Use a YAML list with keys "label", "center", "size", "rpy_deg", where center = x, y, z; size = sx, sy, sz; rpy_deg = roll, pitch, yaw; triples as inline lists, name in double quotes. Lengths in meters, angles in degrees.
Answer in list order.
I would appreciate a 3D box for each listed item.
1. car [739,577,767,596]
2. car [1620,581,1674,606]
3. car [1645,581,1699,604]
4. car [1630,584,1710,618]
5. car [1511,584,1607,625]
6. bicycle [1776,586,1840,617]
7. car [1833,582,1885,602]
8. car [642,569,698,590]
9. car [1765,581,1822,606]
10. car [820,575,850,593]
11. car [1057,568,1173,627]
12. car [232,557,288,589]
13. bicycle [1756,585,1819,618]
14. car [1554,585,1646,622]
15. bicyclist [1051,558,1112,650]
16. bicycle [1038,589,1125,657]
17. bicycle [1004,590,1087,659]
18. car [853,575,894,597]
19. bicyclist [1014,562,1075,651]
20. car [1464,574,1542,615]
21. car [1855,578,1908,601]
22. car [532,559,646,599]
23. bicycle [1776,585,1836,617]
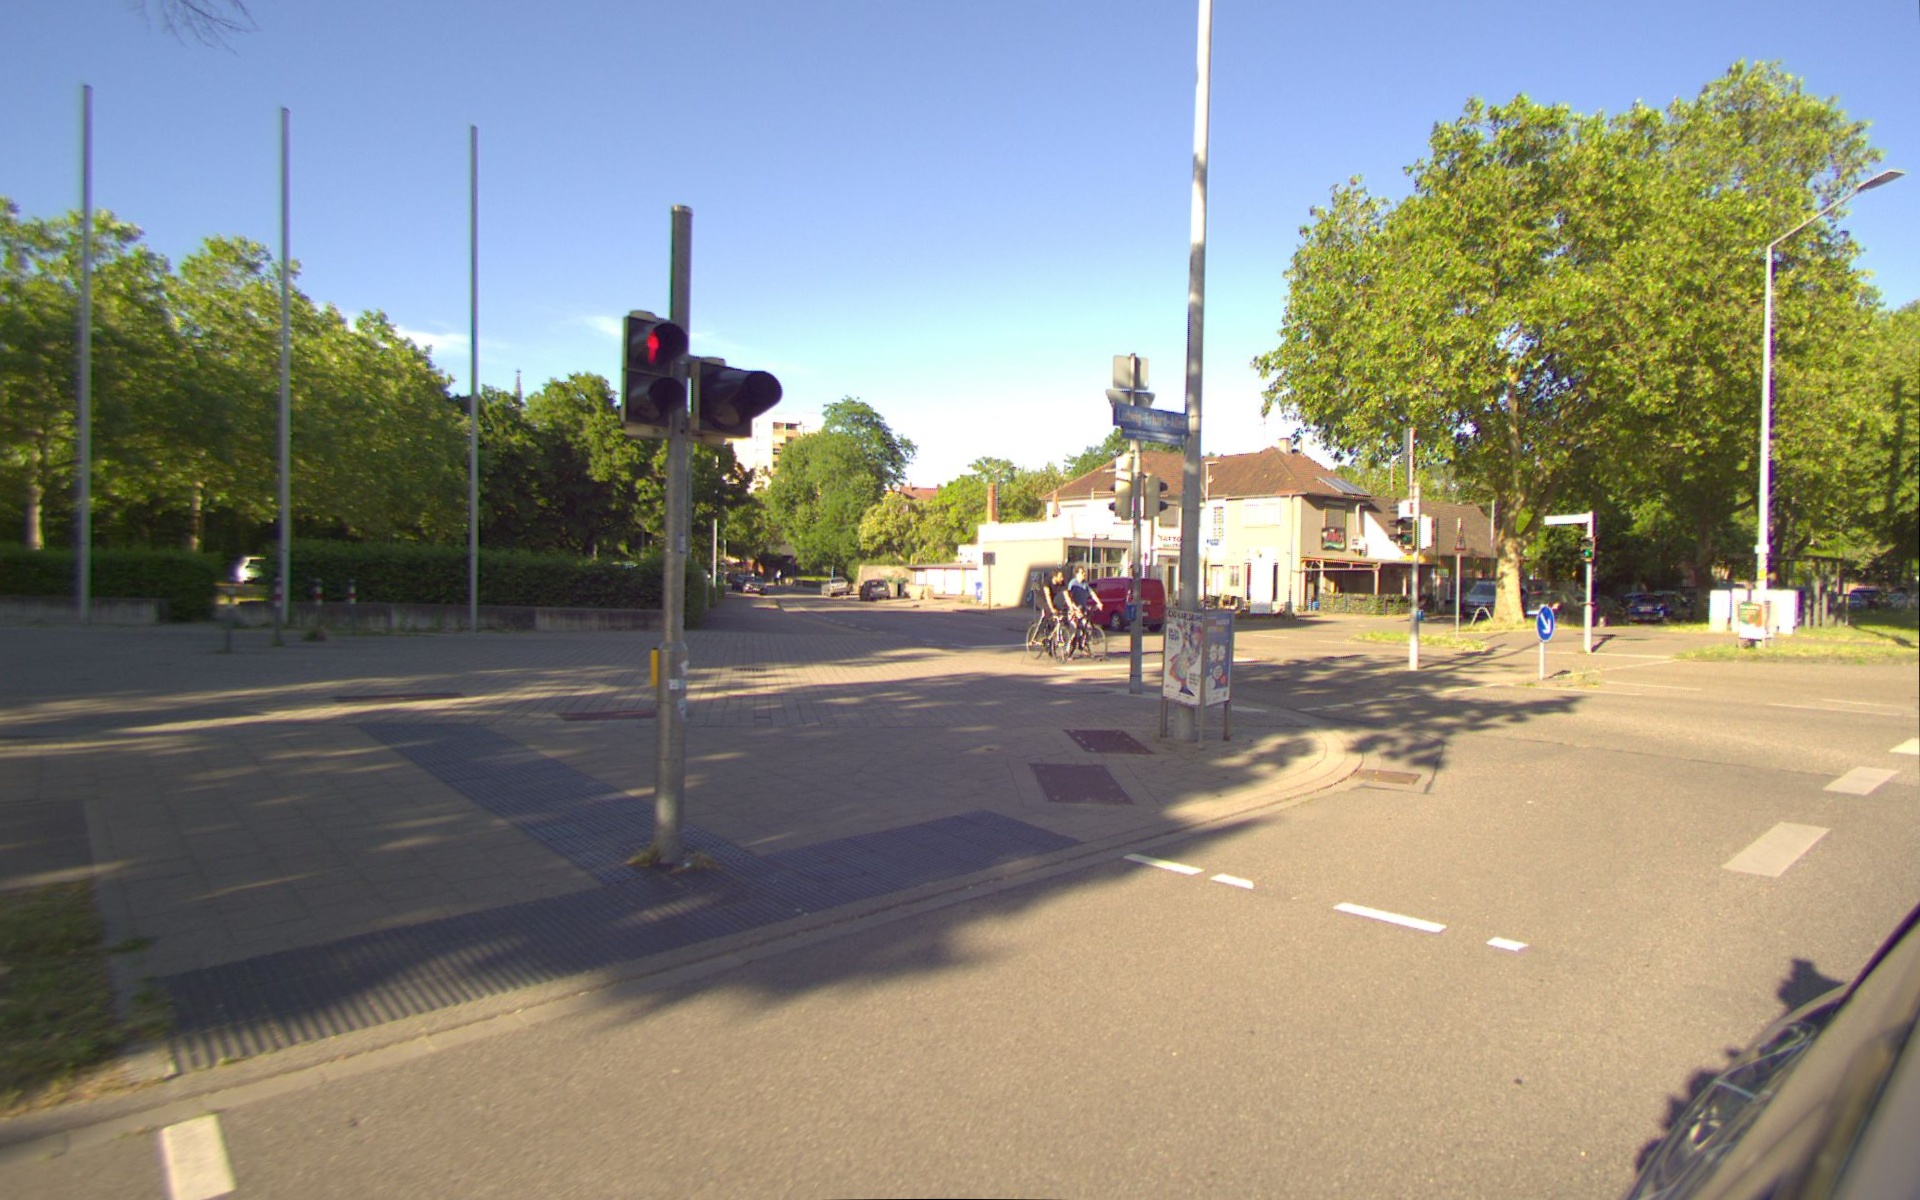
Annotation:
- label: "car"
  center: [-16.933, -1.122, 82.654]
  size: [1.958, 1.483, 4.483]
  rpy_deg: [0, 1, -15]
- label: "car"
  center: [46.917, -0.485, 69.116]
  size: [4.576, 1.548, 1.997]
  rpy_deg: [-1, 4, -43]
- label: "car"
  center: [51.088, -0.568, 72.595]
  size: [4.570, 1.548, 1.998]
  rpy_deg: [-1, 1, -39]
- label: "car"
  center: [33.180, 0.021, 47.280]
  size: [4.267, 1.507, 1.899]
  rpy_deg: [-1, 1, -38]
- label: "car"
  center: [22.812, 0.142, 38.507]
  size: [3.964, 1.483, 1.898]
  rpy_deg: [-1, 1, -39]
- label: "bicycle"
  center: [32.743, 0.044, 39.101]
  size: [0.541, 1.183, 1.808]
  rpy_deg: [0, 1, -38]
- label: "car"
  center: [62.161, -0.576, 69.936]
  size: [4.779, 1.380, 1.998]
  rpy_deg: [-1, 1, -39]
- label: "car"
  center: [-21.605, -1.530, 75.367]
  size: [3.934, 1.484, 2.004]
  rpy_deg: [0, 0, -16]
- label: "car"
  center: [48.549, -0.399, 58.916]
  size: [3.845, 1.397, 1.942]
  rpy_deg: [-1, 1, -40]
- label: "car"
  center: [-10.271, -1.299, 82.953]
  size: [1.958, 1.484, 4.008]
  rpy_deg: [0, 0, -15]
- label: "car"
  center: [5.140, -0.076, 34.034]
  size: [1.816, 1.838, 4.120]
  rpy_deg: [2, -1, -26]
- label: "car"
  center: [-40.146, -1.540, 58.137]
  size: [1.958, 1.485, 4.005]
  rpy_deg: [1, -3, -25]
- label: "bicycle"
  center: [30.176, 0.047, 36.939]
  size: [0.540, 1.183, 1.702]
  rpy_deg: [0, 1, -33]
- label: "car"
  center: [26.167, 0.118, 41.352]
  size: [4.267, 1.429, 1.898]
  rpy_deg: [-1, 1, -38]
- label: "bicyclist"
  center: [2.398, 0.061, 19.998]
  size: [0.815, 1.759, 0.878]
  rpy_deg: [1, 1, -30]
- label: "bicycle"
  center: [2.375, 0.424, 20.082]
  size: [0.540, 1.218, 2.106]
  rpy_deg: [1, 1, -30]
- label: "bicycle"
  center: [1.619, 0.433, 19.552]
  size: [0.540, 1.218, 2.107]
  rpy_deg: [1, 1, -27]
- label: "car"
  center: [-6.178, -1.042, 72.272]
  size: [1.958, 1.483, 4.009]
  rpy_deg: [0, 1, -20]
- label: "bicyclist"
  center: [1.624, 0.116, 19.515]
  size: [0.777, 1.674, 0.878]
  rpy_deg: [1, 1, -30]
- label: "car"
  center: [29.088, -0.312, 54.151]
  size: [4.980, 2.061, 1.898]
  rpy_deg: [-1, 3, -40]
- label: "car"
  center: [66.486, -0.773, 73.006]
  size: [4.567, 1.616, 2.000]
  rpy_deg: [-1, 1, -36]
- label: "car"
  center: [-14.329, -0.779, 39.288]
  size: [3.916, 1.484, 2.004]
  rpy_deg: [0, 0, -13]
- label: "bicycle"
  center: [32.039, 0.032, 38.336]
  size: [0.541, 1.184, 1.700]
  rpy_deg: [0, 1, -39]
